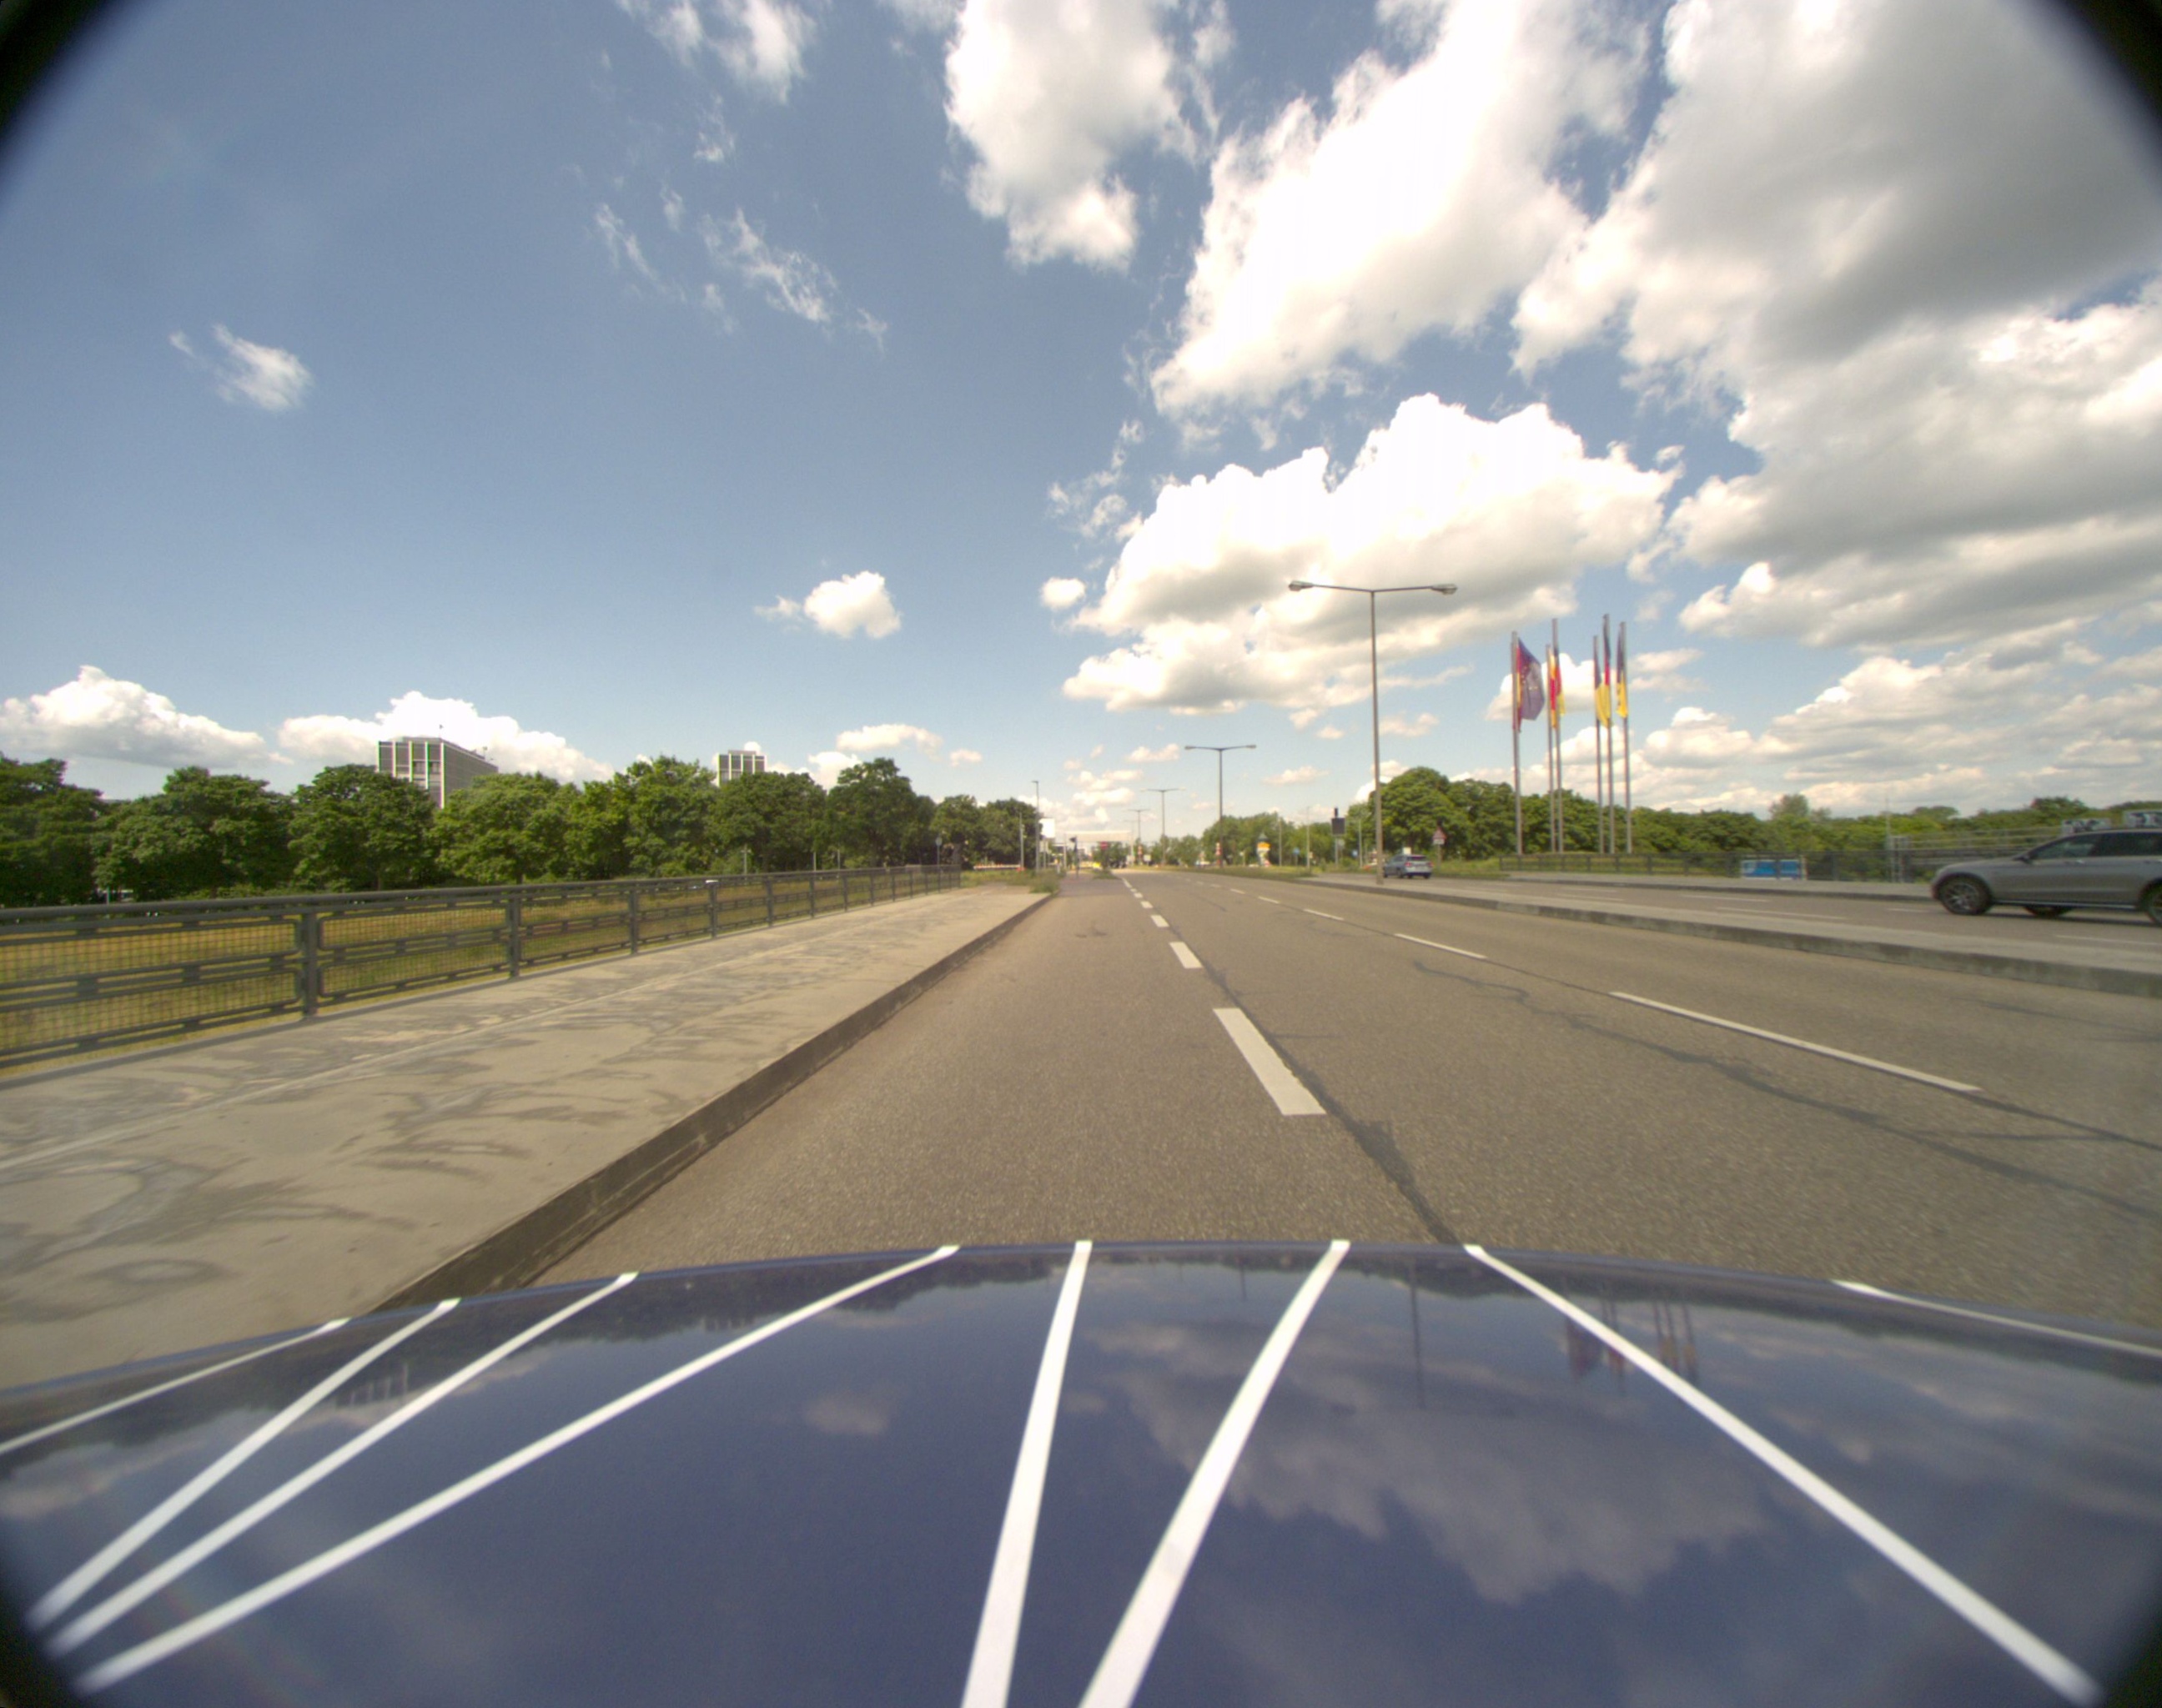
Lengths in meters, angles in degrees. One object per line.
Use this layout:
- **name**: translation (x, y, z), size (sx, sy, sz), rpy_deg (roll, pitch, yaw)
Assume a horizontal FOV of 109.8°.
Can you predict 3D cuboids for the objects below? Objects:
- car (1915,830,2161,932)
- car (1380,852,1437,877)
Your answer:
- **car**: translation (18.148, 0.472, 13.258), size (2.094, 1.617, 4.549), rpy_deg (1, -1, -2)
- **car**: translation (19.580, 0.628, 45.600), size (1.667, 1.405, 4.551), rpy_deg (1, -1, 3)
